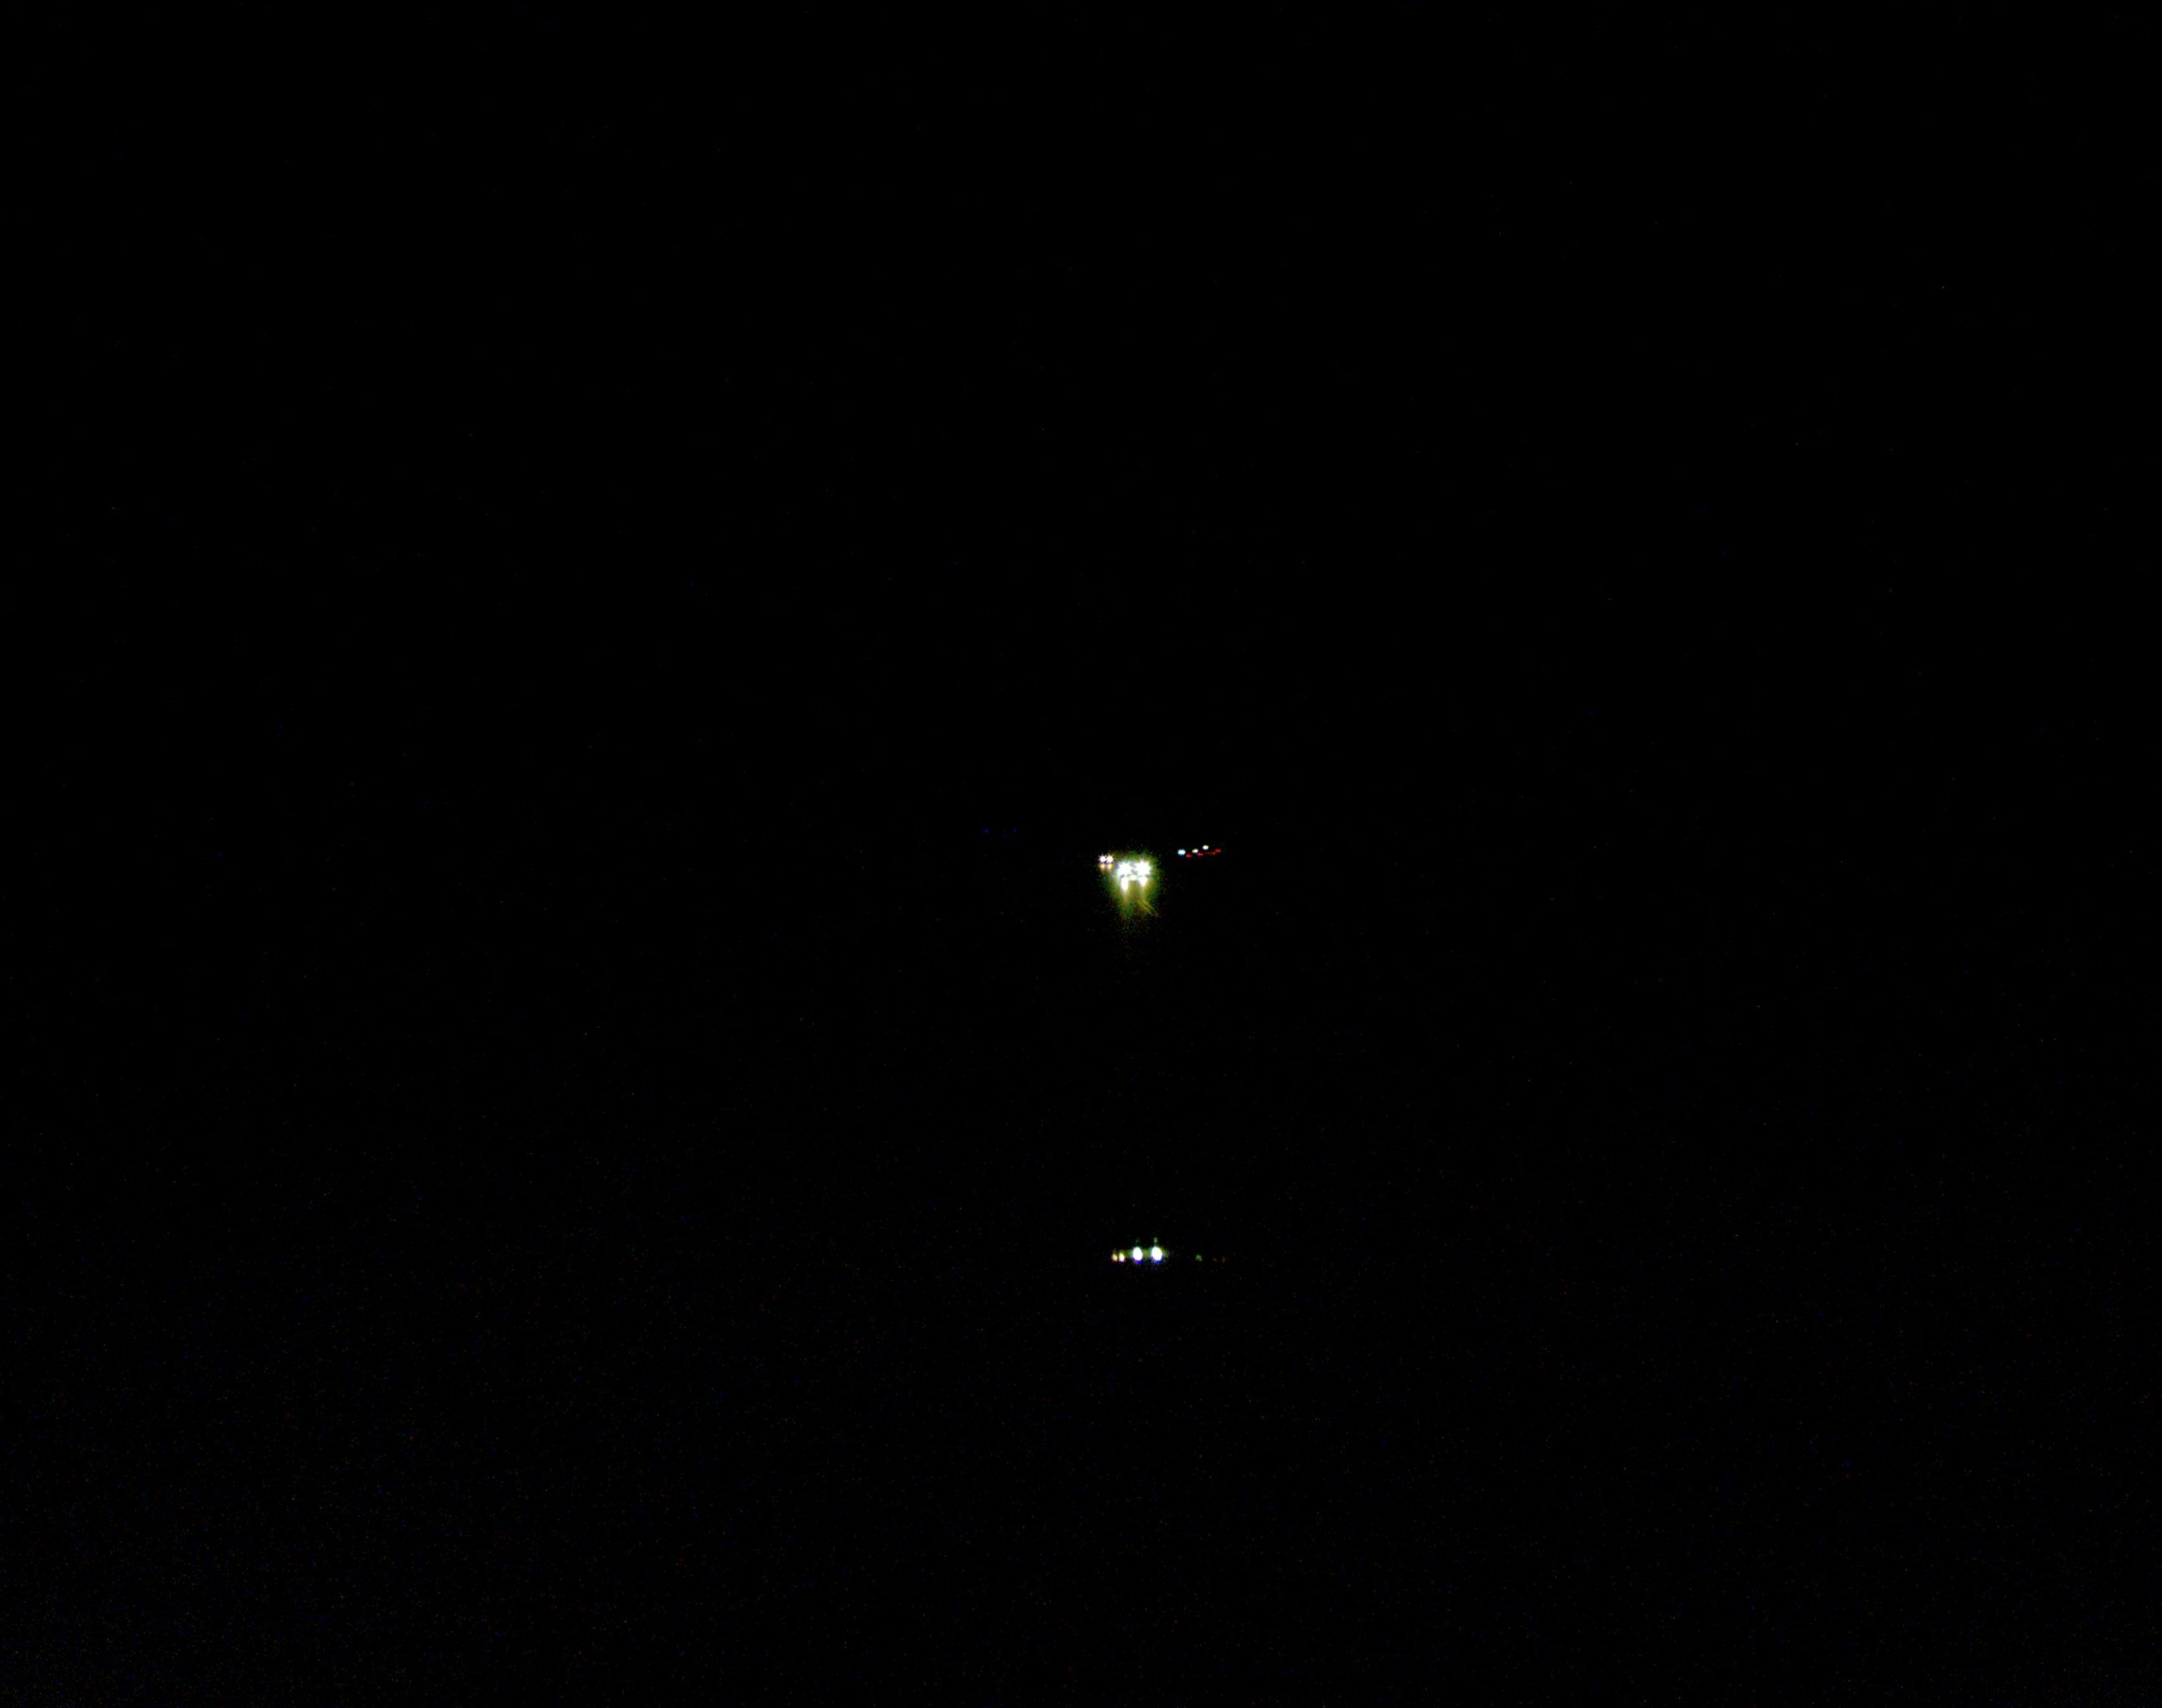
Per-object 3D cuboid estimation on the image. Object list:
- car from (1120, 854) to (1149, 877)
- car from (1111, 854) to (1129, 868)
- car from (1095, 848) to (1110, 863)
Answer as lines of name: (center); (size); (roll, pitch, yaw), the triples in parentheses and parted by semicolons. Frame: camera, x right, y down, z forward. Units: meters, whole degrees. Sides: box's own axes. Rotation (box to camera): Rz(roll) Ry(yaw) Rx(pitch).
car: (3.834, 0.820, 55.199); (1.833, 1.404, 3.999); (-1, 2, 1)
car: (4.627, 0.841, 90.001); (1.998, 1.456, 4.000); (-1, 2, 4)
car: (4.534, 0.316, 161.862); (2.532, 2.889, 6.229); (-1, 2, 8)
